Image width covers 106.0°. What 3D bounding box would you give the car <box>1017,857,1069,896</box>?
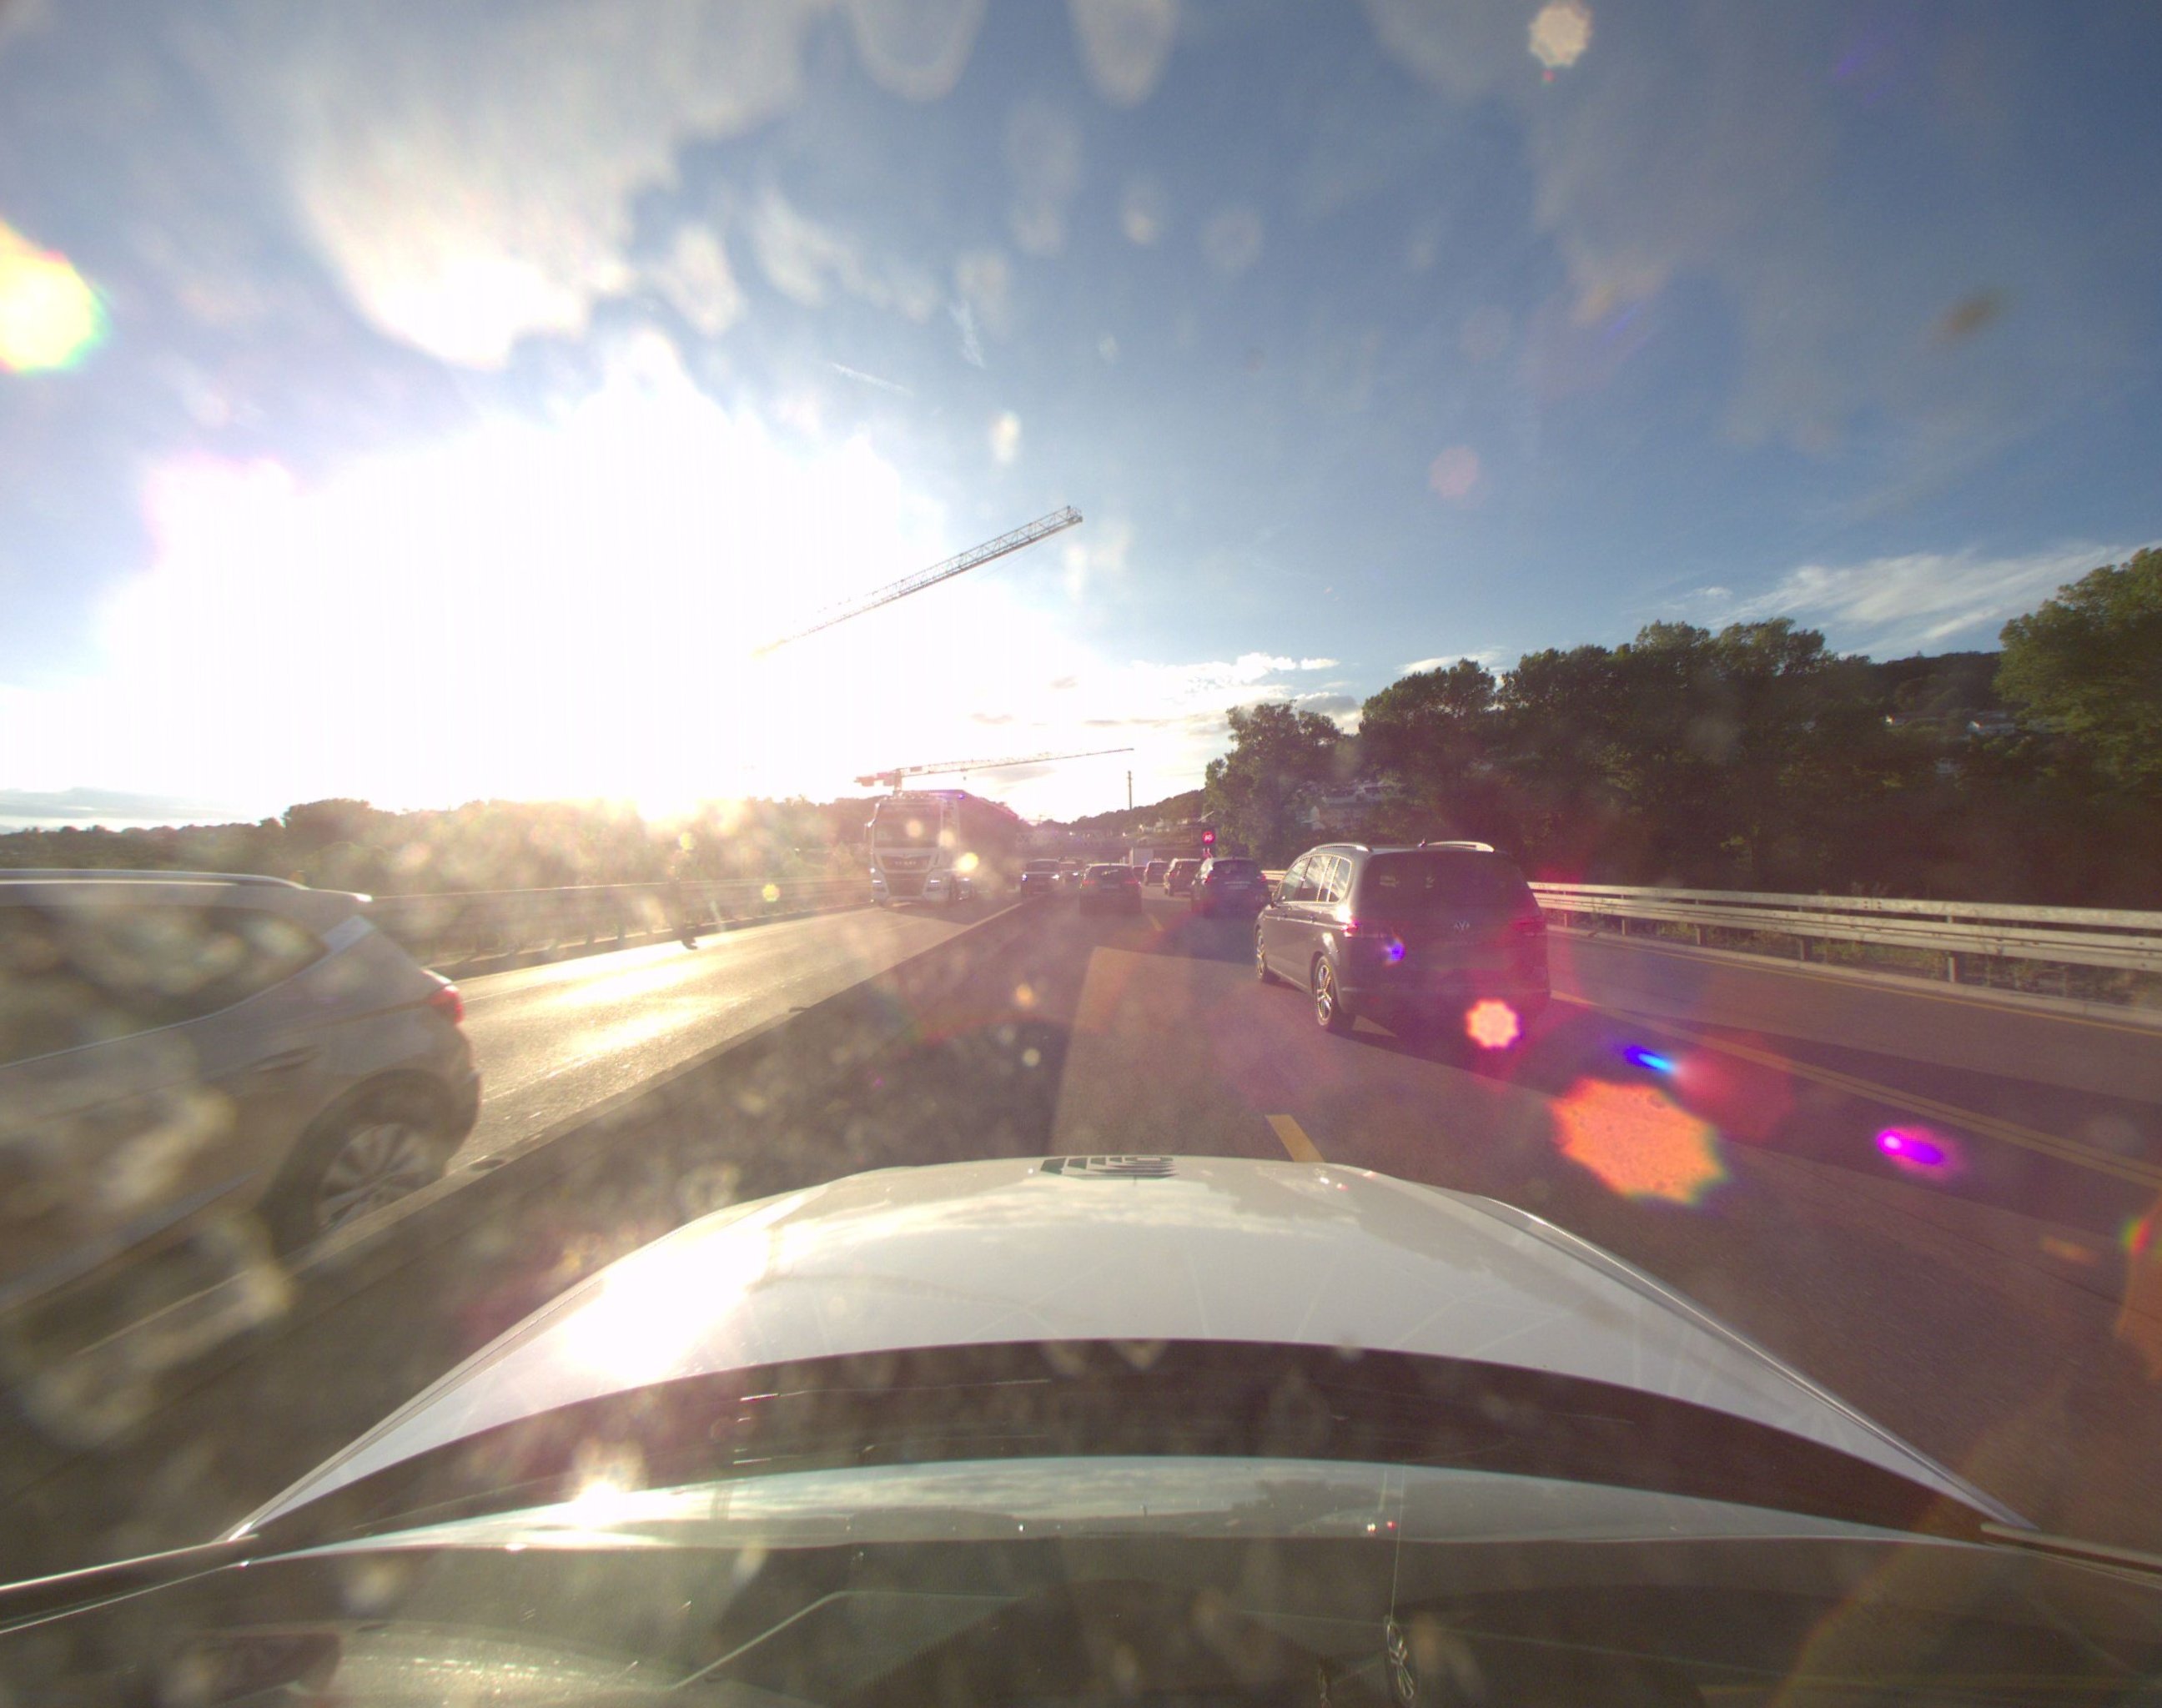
[{"bbox_3d":[-1.681,1.017,37.831,1.986,1.619,4.608,-1,-1,2],"label":"car"}]

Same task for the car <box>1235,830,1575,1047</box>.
[{"bbox_3d":[2.909,0.691,8.481,1.806,1.615,4.526,1,-1,1],"label":"car"}]

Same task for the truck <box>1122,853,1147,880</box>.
[{"bbox_3d":[9.452,2.190,145.735,3.876,4.498,15.272,0,0,2],"label":"truck"}]

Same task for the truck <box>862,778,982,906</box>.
[{"bbox_3d":[-5.432,-0.341,28.854,2.803,4.049,5.676,-1,-1,3],"label":"truck"}]

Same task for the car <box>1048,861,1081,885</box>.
[{"bbox_3d":[-1.105,1.297,56.994,1.986,1.645,4.514,0,-1,2],"label":"car"}]

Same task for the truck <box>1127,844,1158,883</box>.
[{"bbox_3d":[7.754,1.312,104.777,3.372,4.499,15.273,1,-1,2],"label":"truck"}]

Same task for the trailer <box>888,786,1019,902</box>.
[{"bbox_3d":[-5.068,-0.261,35.861,2.803,4.051,14.030,-1,-1,3],"label":"trailer"}]

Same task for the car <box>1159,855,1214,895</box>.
[{"bbox_3d":[4.458,0.909,35.041,1.868,1.599,4.968,-1,-2,2],"label":"car"}]

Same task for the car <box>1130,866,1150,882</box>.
[{"bbox_3d":[5.874,1.956,81.076,1.764,1.553,3.999,0,-1,0],"label":"car"}]

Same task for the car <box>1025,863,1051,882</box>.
[{"bbox_3d":[-3.460,1.500,66.315,1.694,1.446,4.002,-2,-1,2],"label":"car"}]

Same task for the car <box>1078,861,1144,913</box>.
[{"bbox_3d":[0.806,0.924,23.823,1.764,1.390,3.999,0,-1,0],"label":"car"}]

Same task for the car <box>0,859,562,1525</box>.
[{"bbox_3d":[-3.374,0.783,1.866,1.761,1.535,3.999,0,-1,0],"label":"car"}]

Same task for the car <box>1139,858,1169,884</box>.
[{"bbox_3d":[4.923,1.166,55.391,1.808,1.632,4.412,0,-1,1],"label":"car"}]

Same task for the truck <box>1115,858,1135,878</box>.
[{"bbox_3d":[10.125,3.093,187.447,3.878,4.498,13.844,0,0,0],"label":"truck"}]

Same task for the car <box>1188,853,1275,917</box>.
[{"bbox_3d":[4.014,0.794,22.347,1.767,1.586,4.136,0,-1,2],"label":"car"}]
